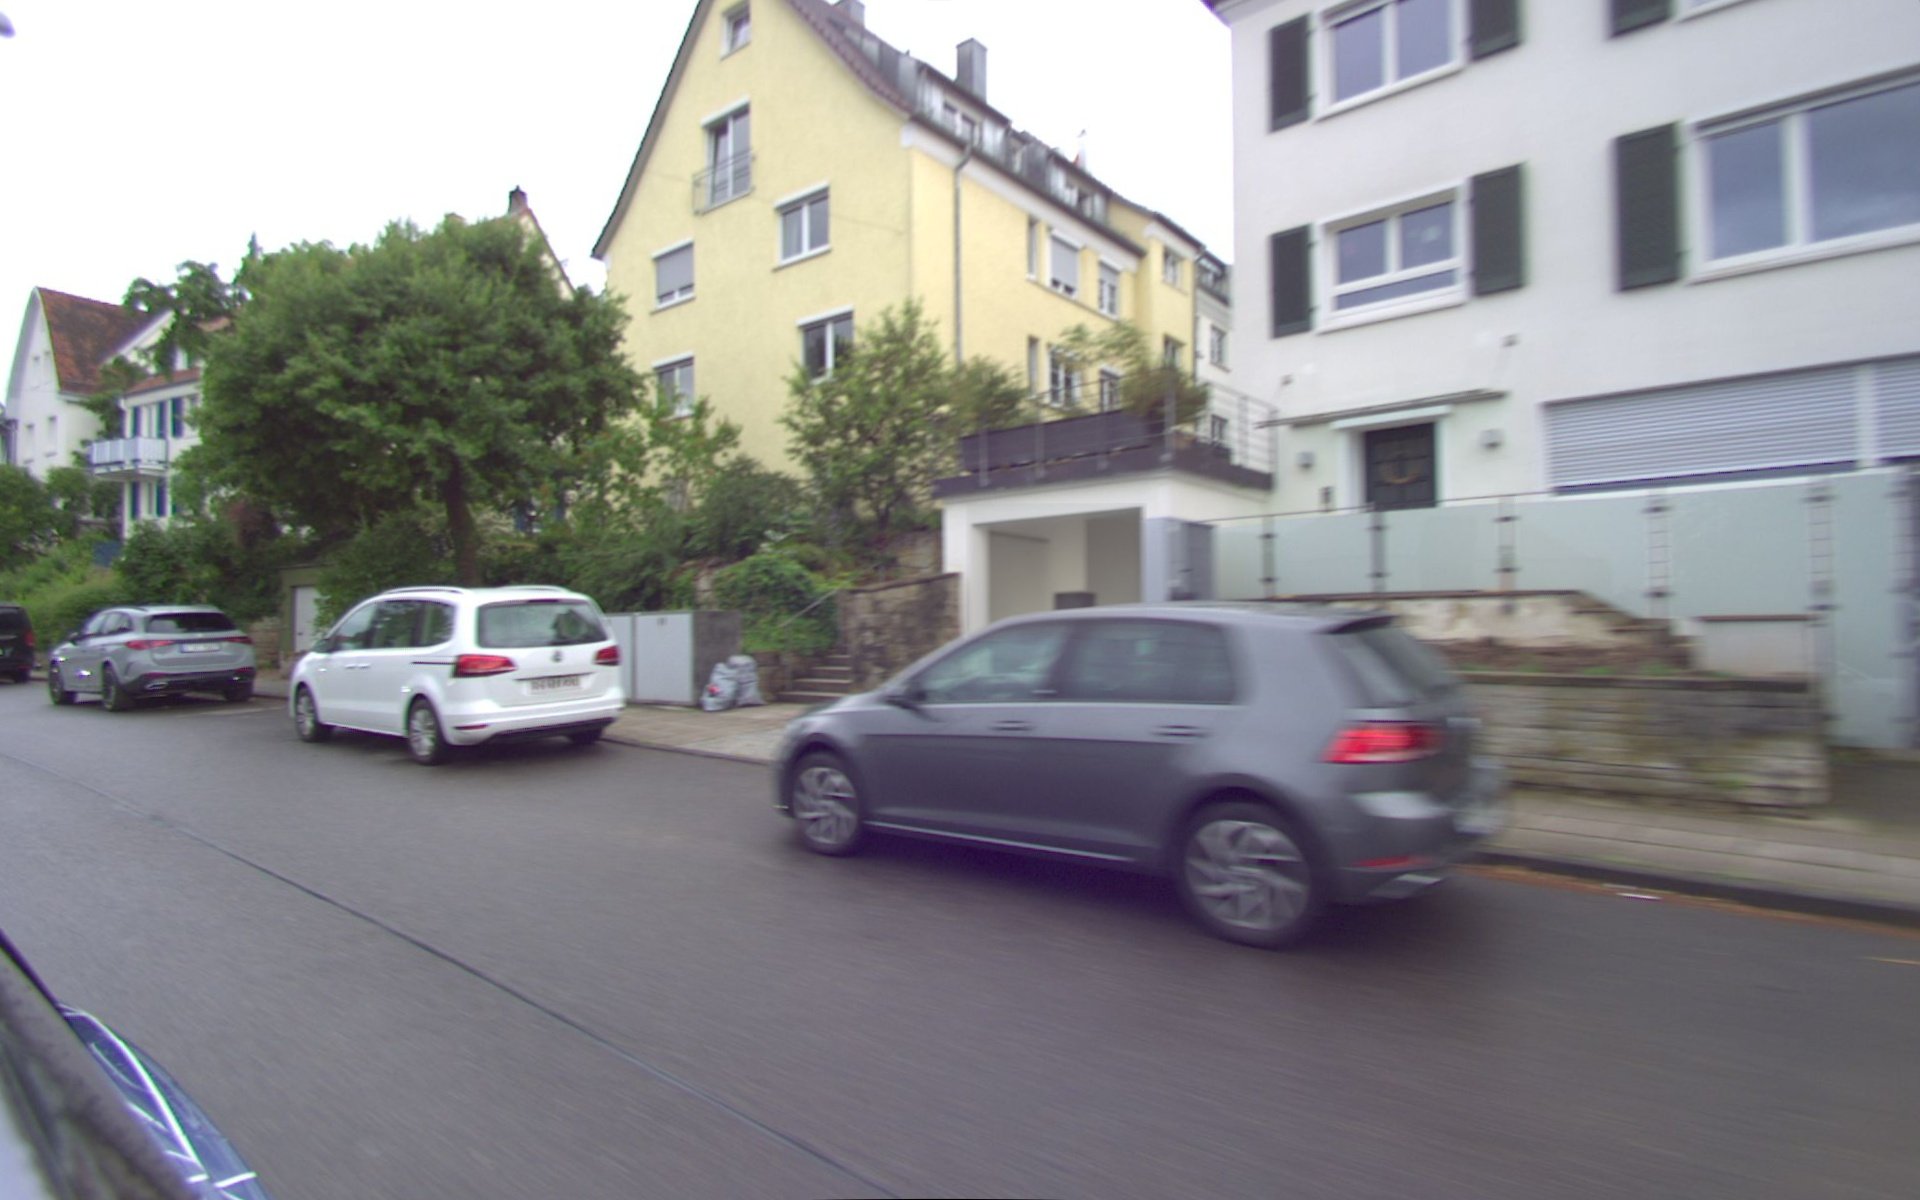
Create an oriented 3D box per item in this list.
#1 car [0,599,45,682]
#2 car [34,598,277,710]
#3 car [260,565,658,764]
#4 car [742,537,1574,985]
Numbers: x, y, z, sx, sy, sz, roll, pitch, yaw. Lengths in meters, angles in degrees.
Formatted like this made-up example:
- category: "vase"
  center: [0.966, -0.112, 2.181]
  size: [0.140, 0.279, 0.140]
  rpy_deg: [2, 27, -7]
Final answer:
- category: "car"
  center: [-24.410, 1.019, 24.603]
  size: [5.342, 1.892, 1.977]
  rpy_deg: [-2, 0, 34]
- category: "car"
  center: [-13.833, 0.879, 17.313]
  size: [4.751, 1.592, 1.977]
  rpy_deg: [-2, 1, 35]
- category: "car"
  center: [-5.628, 0.612, 11.119]
  size: [4.731, 1.715, 1.975]
  rpy_deg: [-2, 1, 37]
- category: "car"
  center: [0.835, 0.585, 5.600]
  size: [4.135, 1.592, 1.774]
  rpy_deg: [-2, 1, 40]
